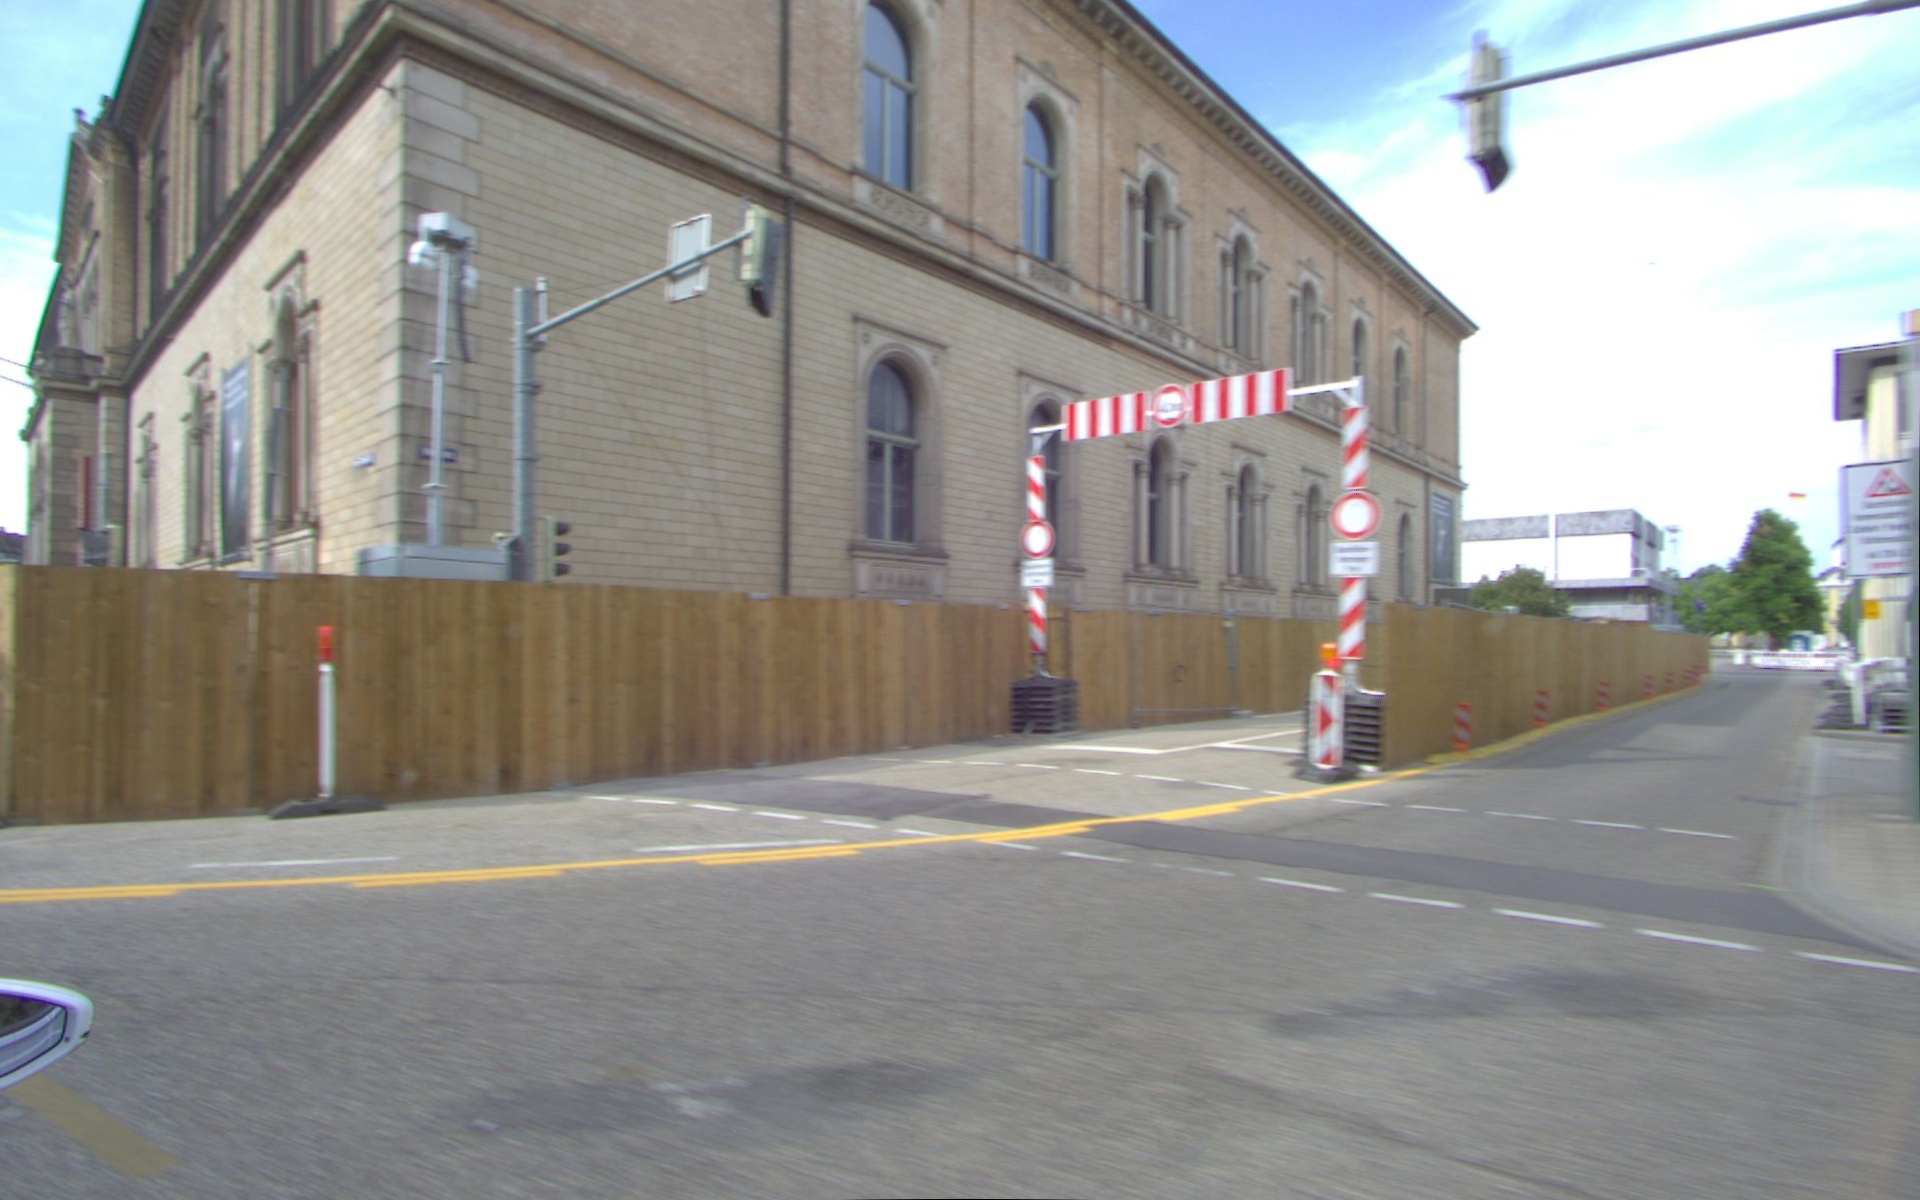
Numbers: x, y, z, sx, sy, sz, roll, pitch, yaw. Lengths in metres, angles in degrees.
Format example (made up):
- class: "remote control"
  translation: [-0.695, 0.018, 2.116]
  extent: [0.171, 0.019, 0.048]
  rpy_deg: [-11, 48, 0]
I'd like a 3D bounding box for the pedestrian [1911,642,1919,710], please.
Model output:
- class: "pedestrian"
  translation: [24.821, 1.935, 25.573]
  extent: [0.726, 1.735, 0.841]
  rpy_deg: [-1, -2, 42]
